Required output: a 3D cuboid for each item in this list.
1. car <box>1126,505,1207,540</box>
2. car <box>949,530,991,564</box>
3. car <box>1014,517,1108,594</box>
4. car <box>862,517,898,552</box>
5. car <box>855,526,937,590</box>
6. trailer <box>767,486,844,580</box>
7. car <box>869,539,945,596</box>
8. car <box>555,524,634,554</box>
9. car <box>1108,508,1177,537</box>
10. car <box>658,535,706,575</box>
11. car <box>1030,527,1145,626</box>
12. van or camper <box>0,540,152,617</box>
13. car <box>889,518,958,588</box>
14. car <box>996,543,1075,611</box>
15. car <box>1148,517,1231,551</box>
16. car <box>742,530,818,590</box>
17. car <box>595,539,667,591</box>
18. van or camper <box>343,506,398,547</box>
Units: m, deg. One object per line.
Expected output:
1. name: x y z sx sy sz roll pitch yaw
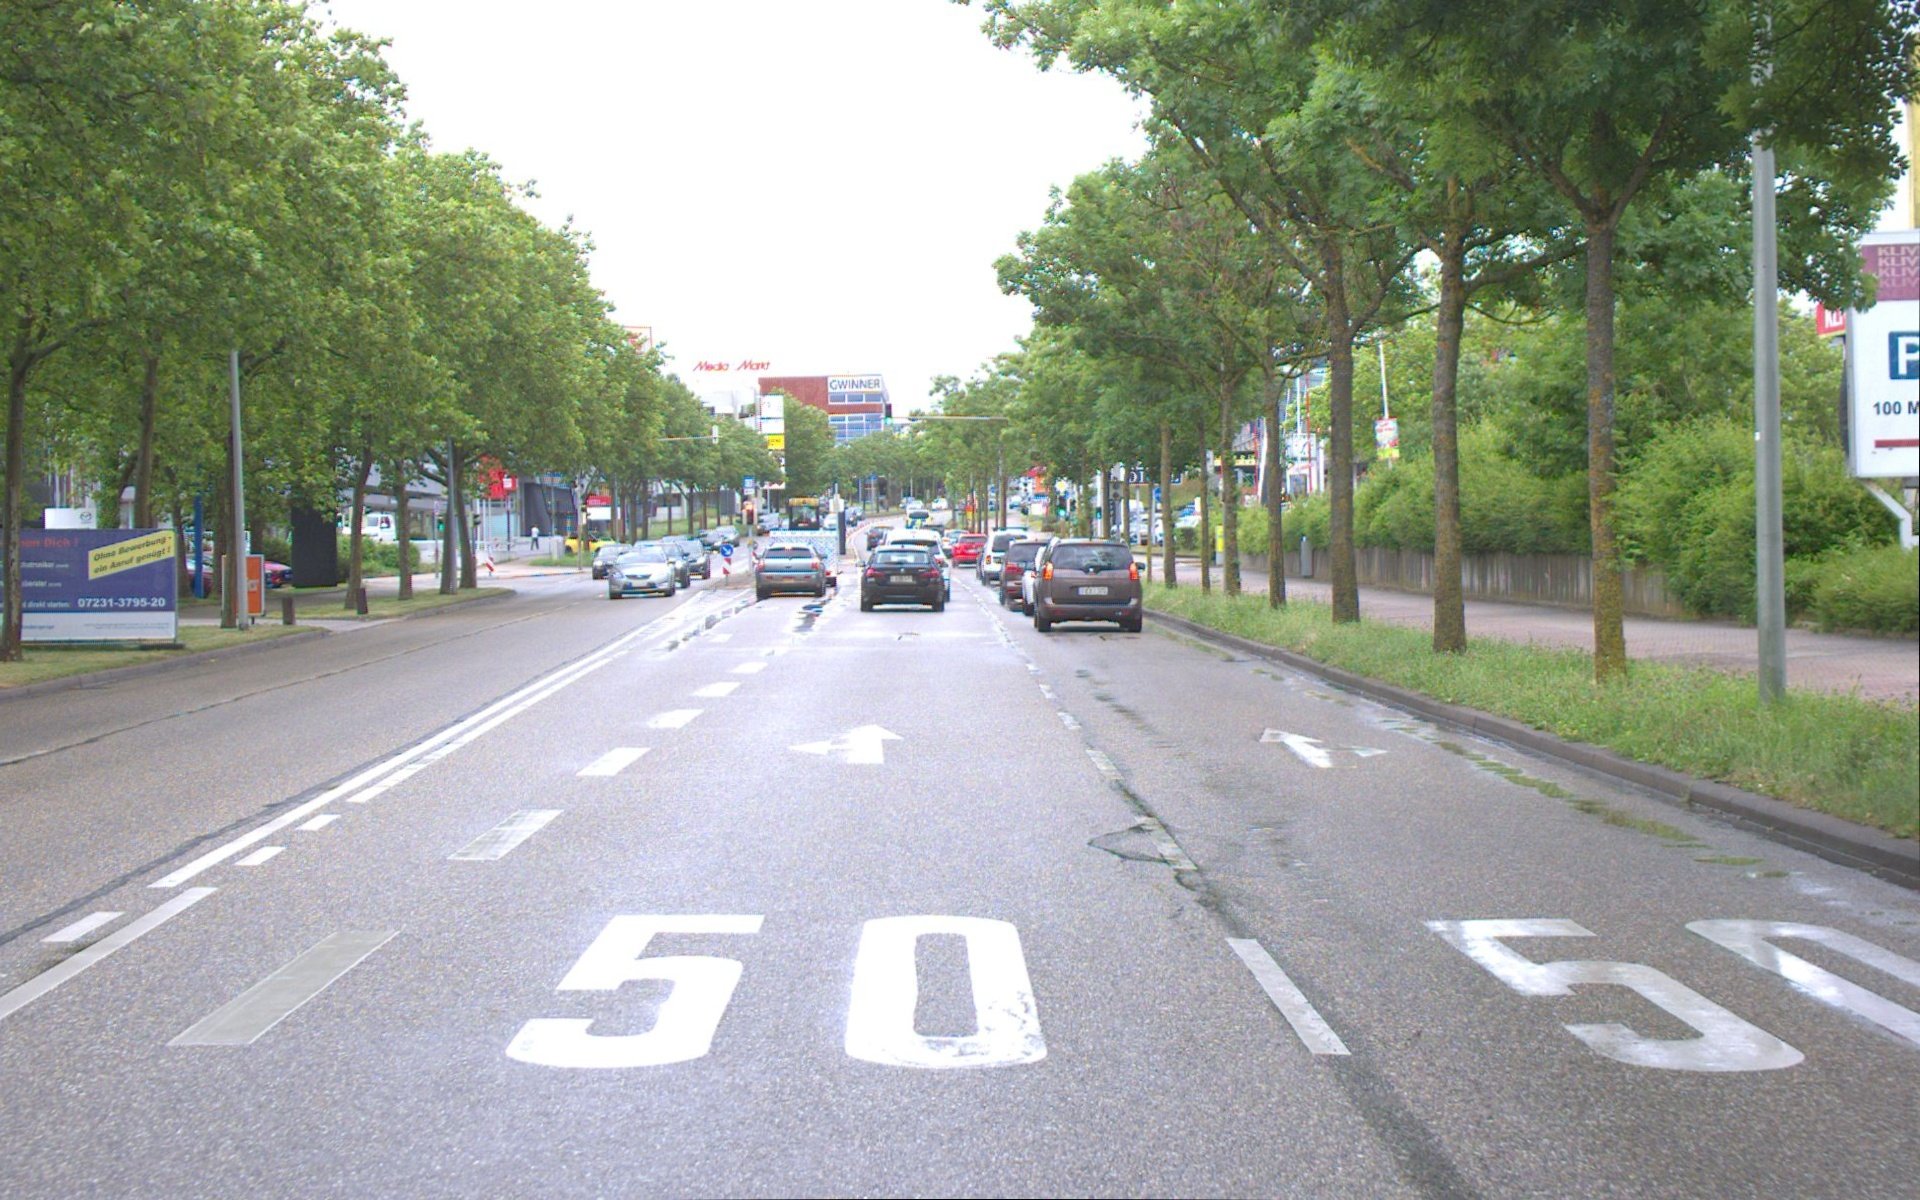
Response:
1. car: 11.076 -4.154 183.956 4.016 1.657 1.982 -5 3 -40
2. car: 0.415 -2.291 147.755 1.695 1.438 3.989 -1 1 -1
3. car: 2.108 -0.960 73.002 1.801 1.539 4.620 1 1 -1
4. car: -4.630 -3.772 198.630 1.993 2.007 4.000 1 0 0
5. car: -1.448 -0.954 76.729 1.781 1.393 4.001 0 1 -2
6. trailer: -5.004 -2.172 111.529 2.372 2.887 5.546 -2 1 -2
7. car: -1.388 -0.859 88.709 1.682 1.372 4.001 -1 1 -5
8. car: -20.244 -3.364 190.407 3.994 1.546 1.896 -1 2 33
9. car: 10.067 -4.273 189.691 3.589 1.530 1.643 -3 2 -40
10. car: -10.872 -1.765 134.342 1.666 1.457 4.182 -2 1 -7
11. car: 2.177 -0.431 59.712 1.726 1.619 4.471 -1 1 -1
12. van or camper: -23.315 -0.533 86.758 5.282 1.815 2.267 -2 1 -26
13. car: -1.097 -1.393 102.084 1.993 2.007 4.000 1 0 -1
14. car: 1.841 -0.589 85.260 1.801 1.581 4.451 1 2 -1
15. car: 11.451 -3.301 171.482 1.930 1.571 4.278 0 2 41
16. car: -5.027 -1.138 96.466 1.907 1.573 4.881 -2 1 -1
17. car: -9.689 -1.039 101.143 1.993 1.424 4.686 -2 1 -6
18. van or camper: -28.902 -3.585 168.685 1.993 1.960 4.789 1 0 -1
